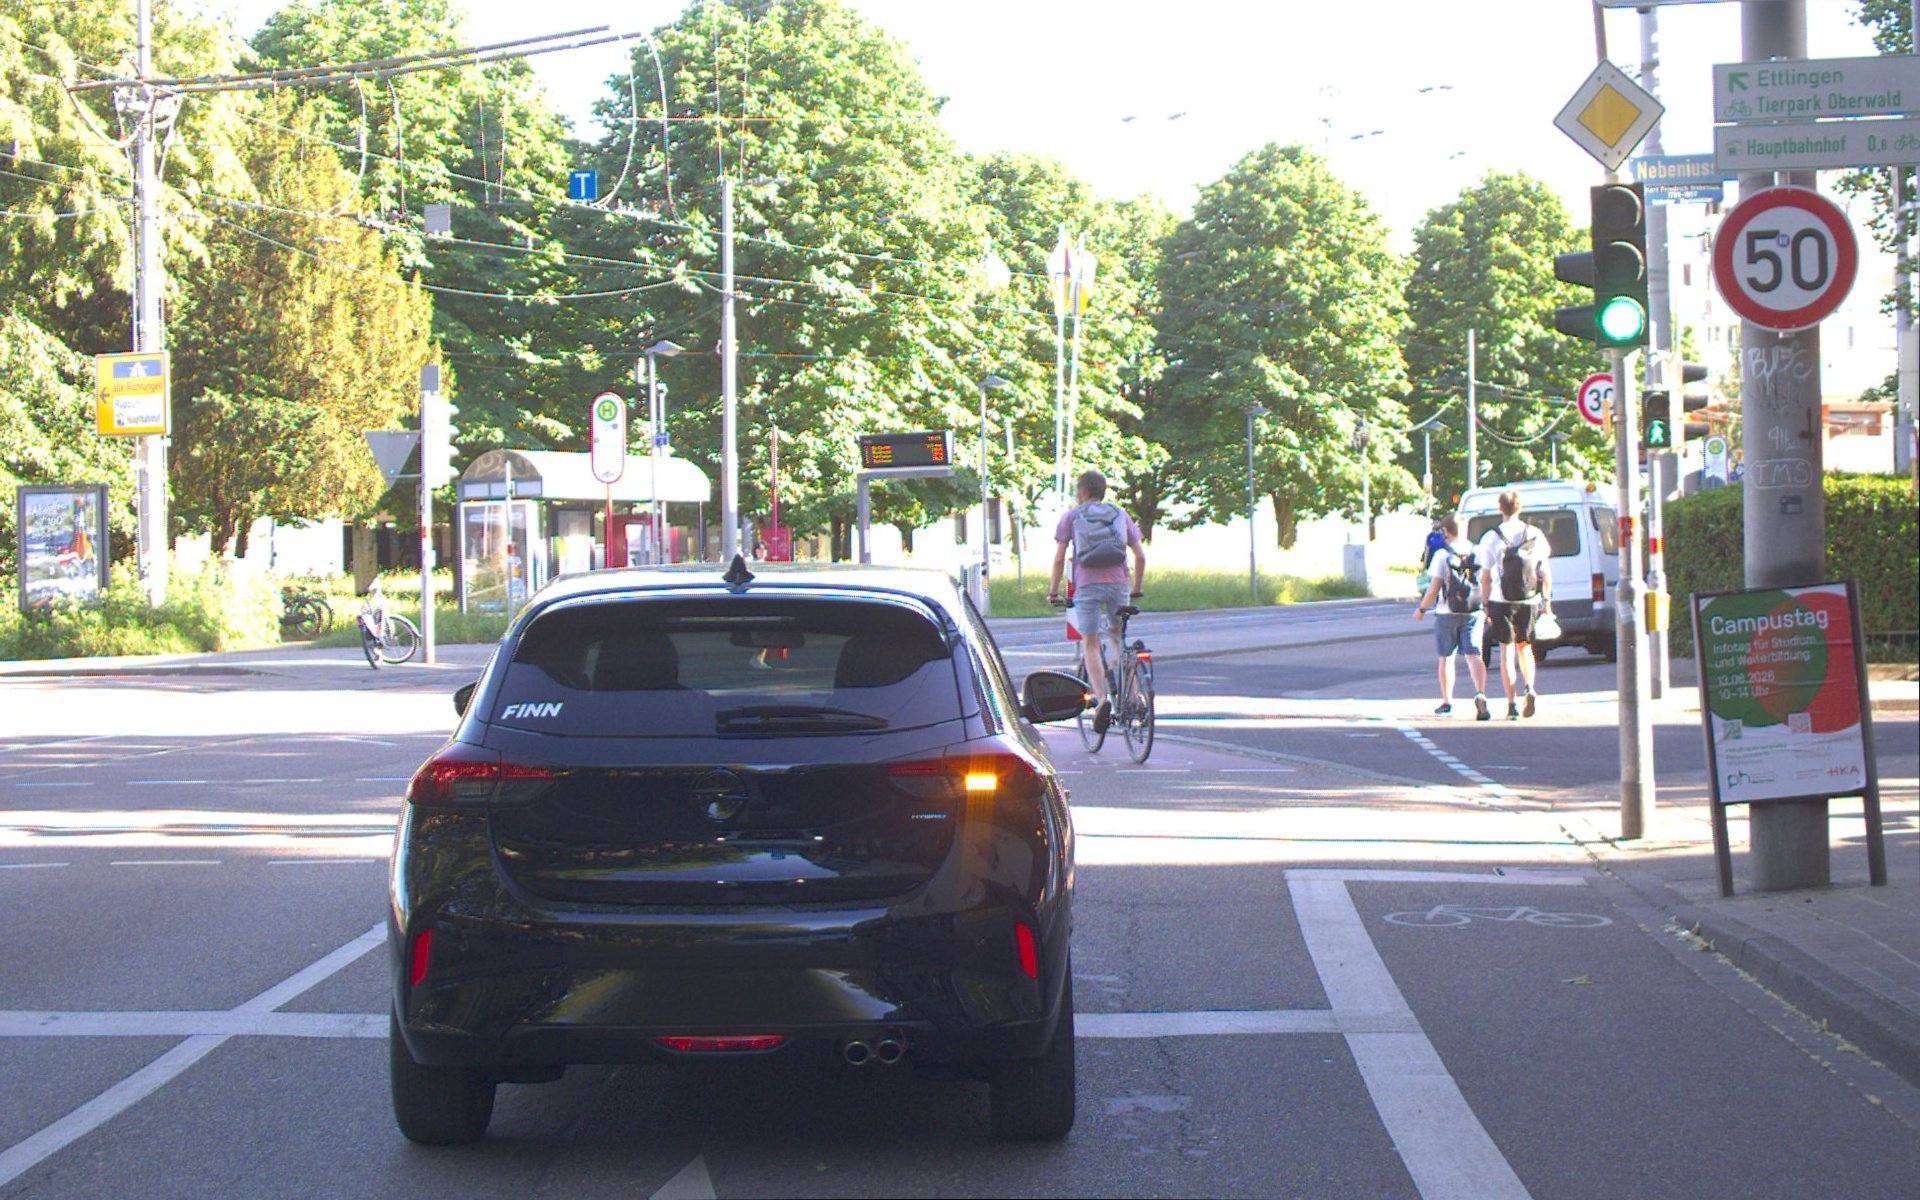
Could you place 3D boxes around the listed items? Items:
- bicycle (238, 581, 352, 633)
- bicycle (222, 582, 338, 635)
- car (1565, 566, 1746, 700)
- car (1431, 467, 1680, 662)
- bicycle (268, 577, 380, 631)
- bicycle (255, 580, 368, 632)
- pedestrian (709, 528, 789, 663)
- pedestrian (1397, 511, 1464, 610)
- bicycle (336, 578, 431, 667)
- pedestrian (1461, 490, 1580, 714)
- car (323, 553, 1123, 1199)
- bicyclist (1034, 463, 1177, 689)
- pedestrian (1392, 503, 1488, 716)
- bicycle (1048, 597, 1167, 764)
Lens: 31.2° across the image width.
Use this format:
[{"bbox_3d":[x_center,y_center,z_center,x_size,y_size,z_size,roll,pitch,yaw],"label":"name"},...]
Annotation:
[{"bbox_3d":[-11.805,0.122,61.061,1.877,0.903,0.659,-1,1,6],"label":"bicycle"},{"bbox_3d":[-11.876,0.146,60.075,1.877,0.903,0.659,-1,1,6],"label":"bicycle"},{"bbox_3d":[9.803,0.435,48.275,1.802,1.757,3.887,-1,1,22],"label":"car"},{"bbox_3d":[7.425,-0.418,42.517,2.092,2.270,4.301,0,0,23],"label":"car"},{"bbox_3d":[-11.631,0.072,62.906,1.877,0.903,0.659,-2,1,6],"label":"bicycle"},{"bbox_3d":[-11.677,0.105,61.934,1.877,0.903,0.659,-1,1,6],"label":"bicycle"},{"bbox_3d":[-2.679,-0.061,43.657,0.726,1.687,0.700,0,1,27],"label":"pedestrian"},{"bbox_3d":[8.595,-0.725,62.811,0.959,1.786,0.994,0,1,25],"label":"pedestrian"},{"bbox_3d":[-7.186,0.272,42.929,0.825,1.056,1.883,-1,1,1],"label":"bicycle"},{"bbox_3d":[4.668,0.008,28.640,0.704,1.840,0.699,0,1,39],"label":"pedestrian"},{"bbox_3d":[-0.534,0.606,9.800,1.800,1.436,3.940,-1,1,0],"label":"car"},{"bbox_3d":[0.988,-0.171,23.708,0.840,1.504,1.369,-1,1,-3],"label":"bicyclist"},{"bbox_3d":[4.074,0.076,29.225,0.698,1.786,0.617,-1,1,-1],"label":"pedestrian"},{"bbox_3d":[0.998,0.529,23.704,0.667,1.056,2.082,-1,1,-1],"label":"bicycle"}]
